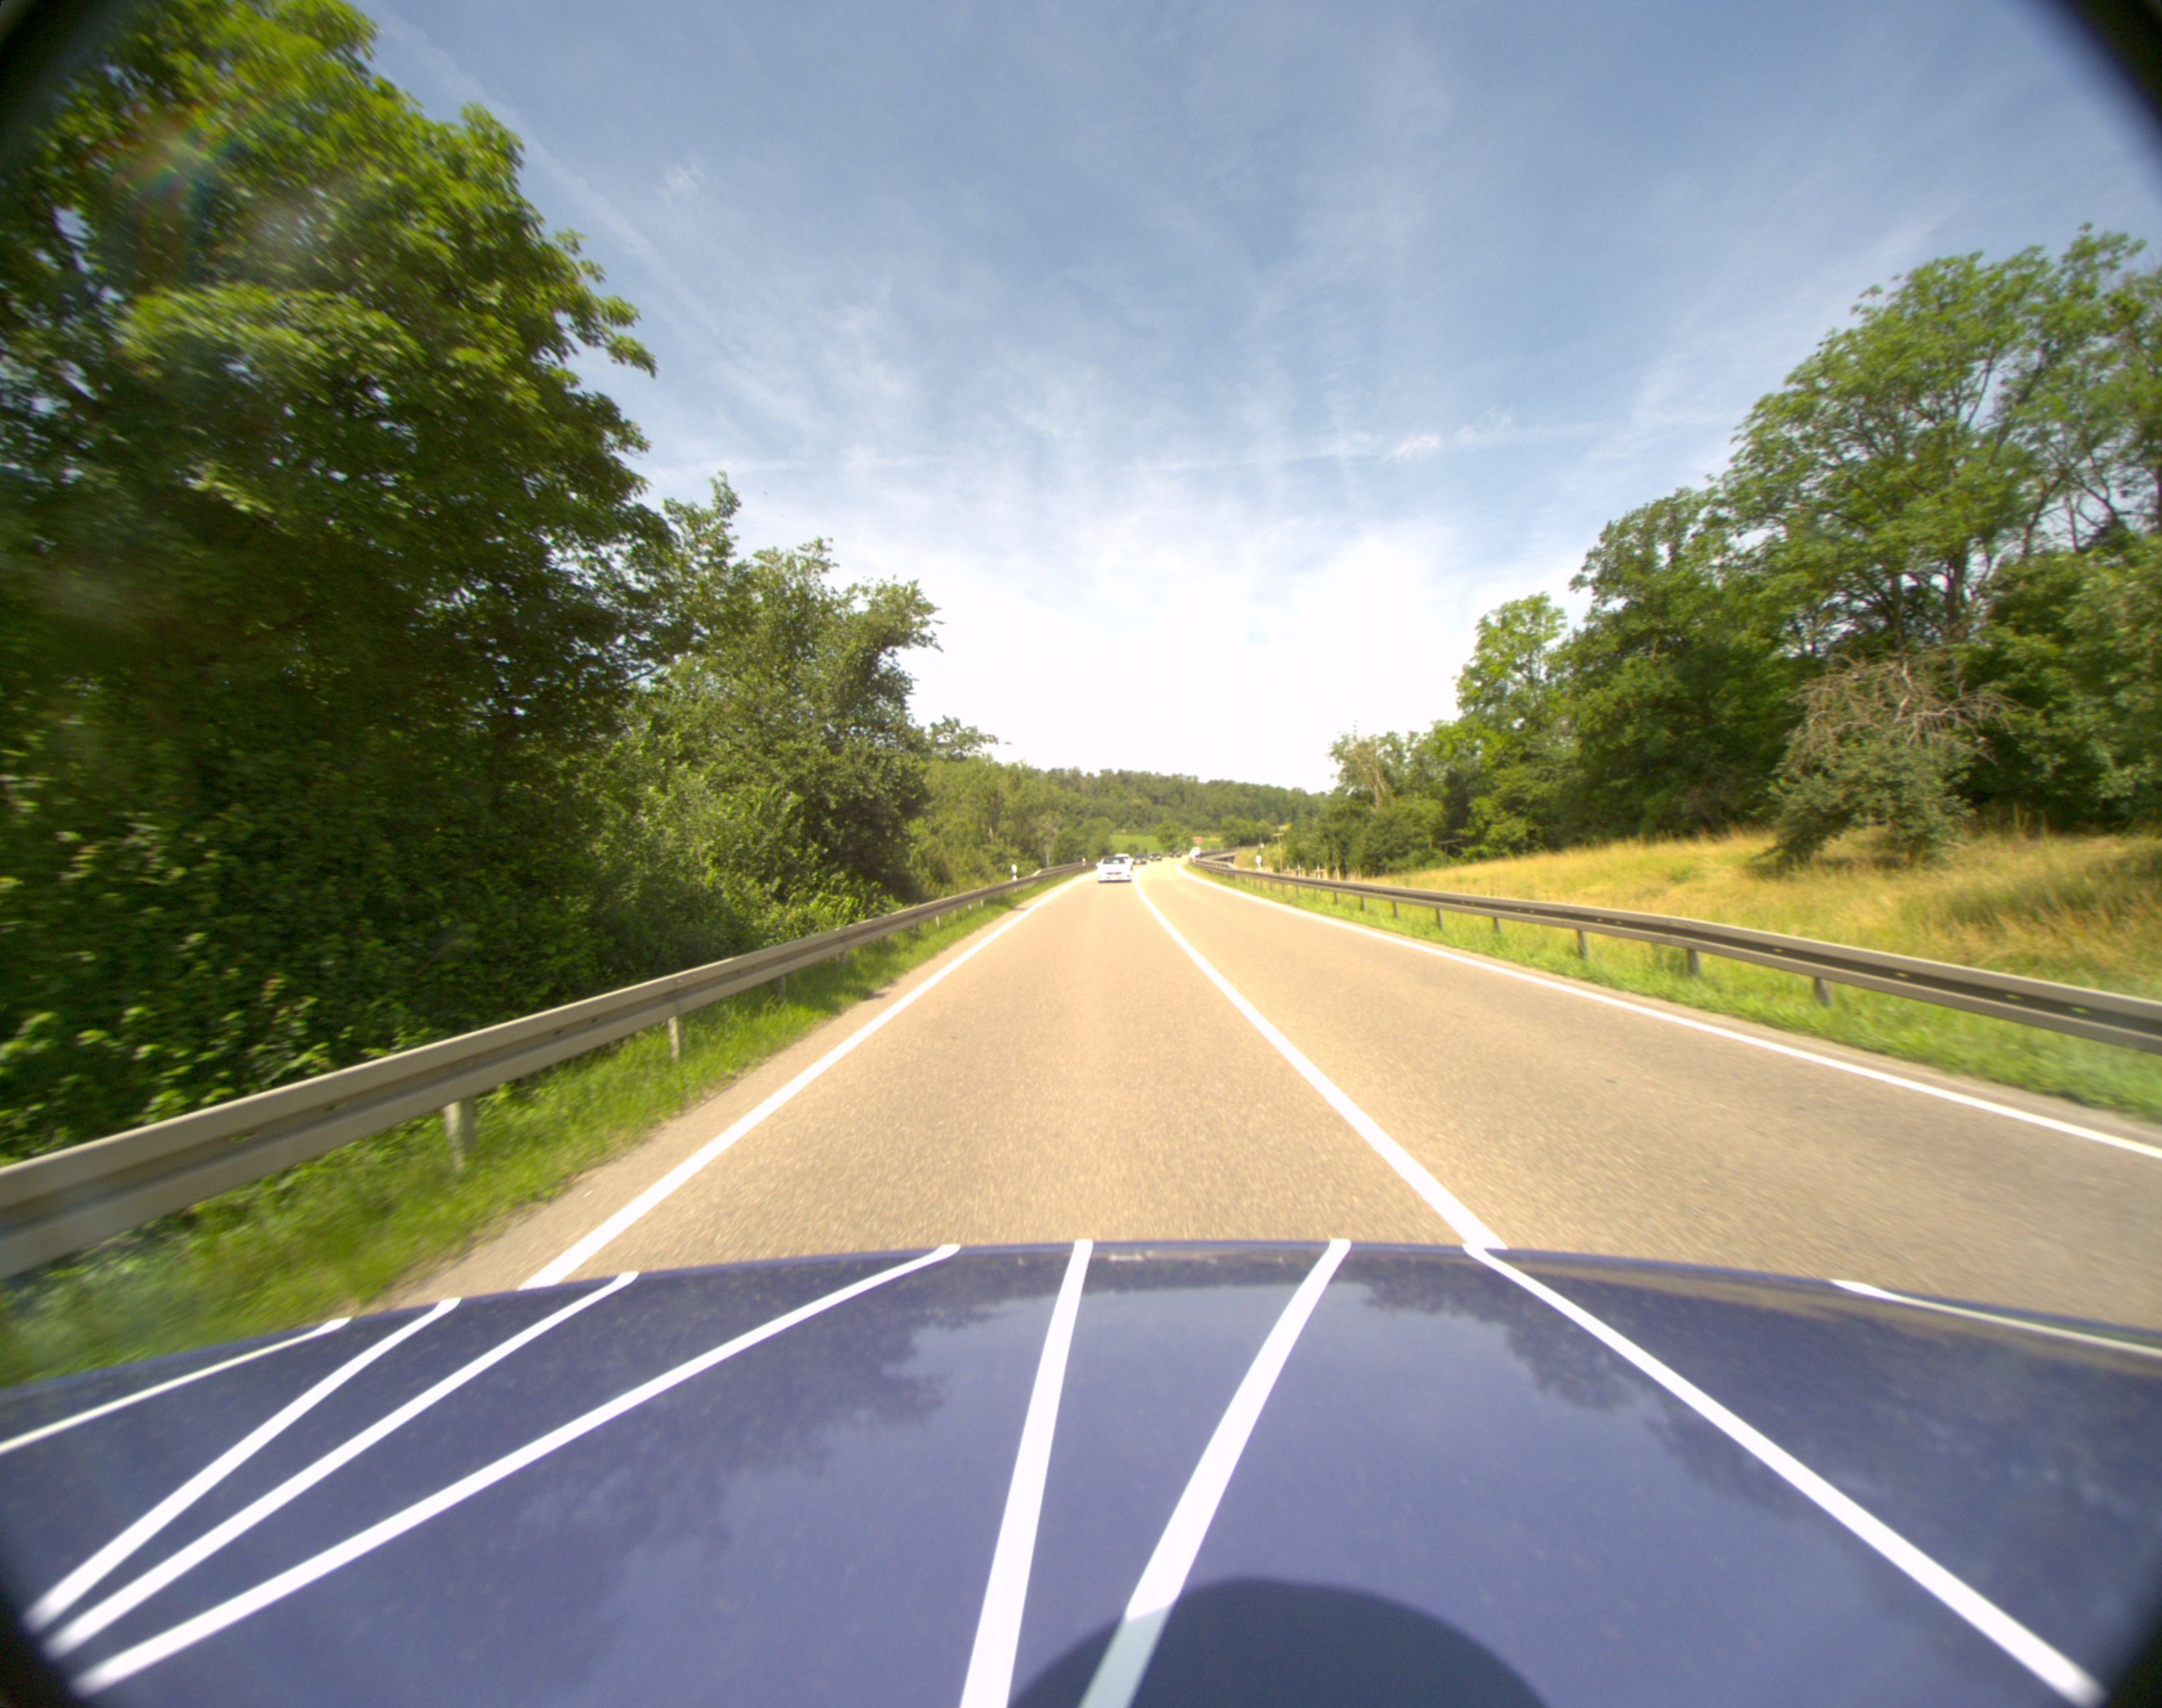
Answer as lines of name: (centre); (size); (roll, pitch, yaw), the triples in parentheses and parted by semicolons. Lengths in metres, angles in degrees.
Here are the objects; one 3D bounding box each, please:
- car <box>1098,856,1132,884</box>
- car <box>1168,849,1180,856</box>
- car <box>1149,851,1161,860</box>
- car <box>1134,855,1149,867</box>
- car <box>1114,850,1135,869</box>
car: (1.969, 0.875, 43.339); (1.742, 1.445, 4.037); (-2, 1, 5)
car: (19.259, -0.285, 157.647); (1.741, 1.445, 4.040); (-2, 1, 16)
car: (12.353, 0.215, 127.158); (1.742, 1.445, 4.036); (-2, 1, 4)
car: (8.043, 0.923, 100.500); (1.742, 1.445, 4.038); (-2, 1, 8)
car: (4.028, 0.500, 70.491); (1.717, 1.523, 4.001); (-3, 1, 5)
